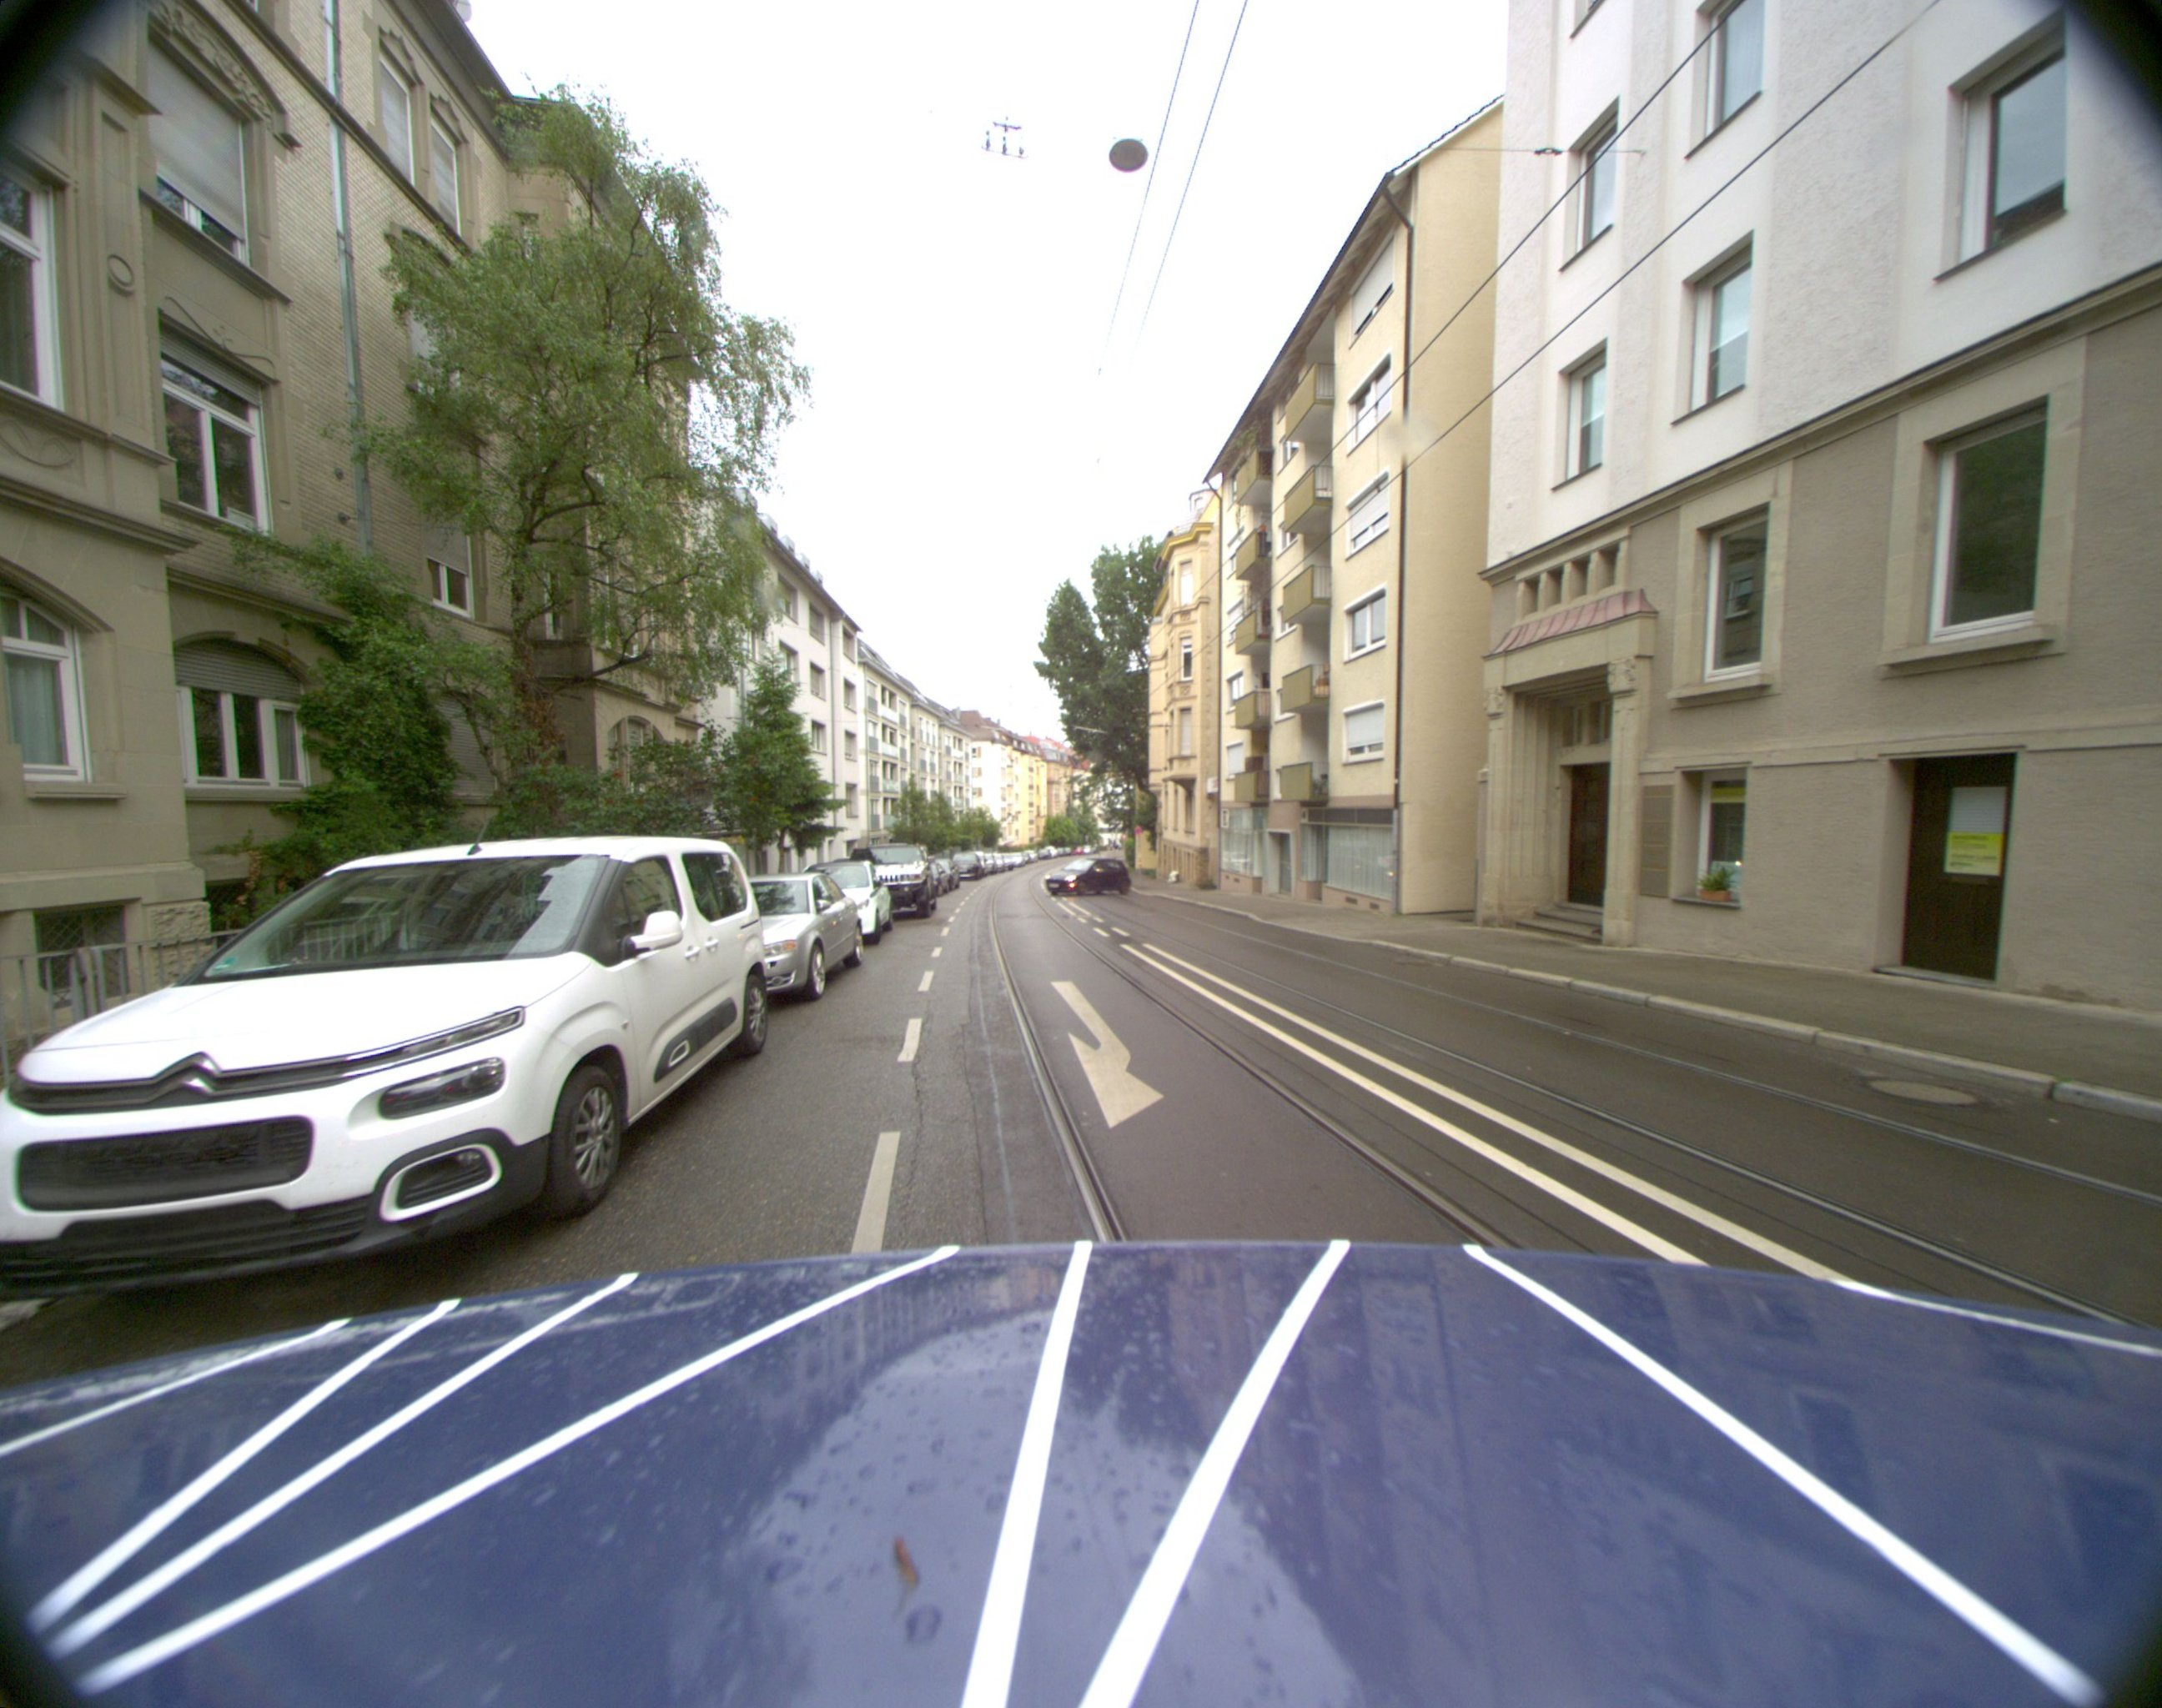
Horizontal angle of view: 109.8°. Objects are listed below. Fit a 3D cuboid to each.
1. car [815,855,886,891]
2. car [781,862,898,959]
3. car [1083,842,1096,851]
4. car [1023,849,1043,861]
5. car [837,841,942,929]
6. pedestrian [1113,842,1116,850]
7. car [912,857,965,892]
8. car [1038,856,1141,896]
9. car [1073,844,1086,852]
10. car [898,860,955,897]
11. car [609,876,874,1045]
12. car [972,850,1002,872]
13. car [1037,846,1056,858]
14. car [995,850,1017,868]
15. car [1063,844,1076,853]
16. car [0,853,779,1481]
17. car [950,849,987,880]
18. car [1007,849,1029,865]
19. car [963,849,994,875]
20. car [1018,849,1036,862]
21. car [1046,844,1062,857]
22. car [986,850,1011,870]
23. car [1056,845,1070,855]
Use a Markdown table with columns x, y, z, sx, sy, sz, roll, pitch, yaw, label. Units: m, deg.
| x | y | z | sx | sy | sz | roll | pitch | yaw | label |
| --- | --- | --- | --- | --- | --- | --- | --- | --- | --- |
| -10.661 | 0.839 | 35.419 | 1.817 | 1.418 | 4.153 | -3 | 0 | 2 | car |
| -4.589 | 0.989 | 14.892 | 1.565 | 1.537 | 3.581 | -3 | 1 | -9 | car |
| 1.561 | -1.388 | 139.515 | 1.612 | 1.434 | 3.690 | -1 | 2 | 13 | car |
| -5.924 | 0.086 | 93.790 | 1.721 | 1.459 | 4.391 | -1 | 1 | 6 | car |
| -5.054 | 0.710 | 20.868 | 2.135 | 2.002 | 5.346 | -3 | 1 | -8 | car |
| 7.400 | -1.736 | 168.418 | 0.649 | 1.652 | 0.650 | 0 | 1 | 4 | pedestrian |
| -6.552 | 0.889 | 35.399 | 1.799 | 1.429 | 4.609 | -2 | 1 | -3 | car |
| 0.386 | 0.830 | 30.334 | 4.008 | 1.445 | 1.735 | 0 | 0 | -42 | car |
| -0.215 | -1.066 | 131.063 | 1.556 | 1.360 | 3.126 | -1 | 2 | 13 | car |
| -6.215 | 0.954 | 30.911 | 1.683 | 1.330 | 3.881 | -2 | 1 | -3 | car |
| -3.916 | 1.101 | 9.679 | 1.754 | 1.392 | 4.475 | -3 | 1 | -7 | car |
| -7.445 | 0.540 | 60.669 | 1.837 | 1.647 | 4.685 | -1 | 1 | -1 | car |
| -4.701 | -0.294 | 104.434 | 1.797 | 1.444 | 4.104 | -1 | 2 | 9 | car |
| -7.039 | 0.430 | 71.799 | 1.981 | 1.576 | 4.563 | -1 | 1 | -5 | car |
| -1.839 | -0.838 | 123.930 | 1.658 | 1.360 | 3.637 | -2 | 2 | 8 | car |
| -3.293 | 0.919 | 4.419 | 1.803 | 1.755 | 4.459 | -3 | 1 | -9 | car |
| -7.170 | 0.601 | 48.883 | 1.948 | 1.785 | 4.818 | -2 | 1 | -4 | car |
| -6.715 | 0.295 | 81.395 | 1.862 | 1.507 | 4.789 | -1 | 1 | 2 | car |
| -7.353 | 0.552 | 54.739 | 1.783 | 1.785 | 4.469 | -1 | 1 | -3 | car |
| -6.280 | 0.210 | 88.888 | 1.600 | 1.416 | 3.515 | -1 | 1 | 4 | car |
| -3.888 | -0.528 | 109.378 | 1.798 | 1.613 | 3.868 | -2 | 2 | 6 | car |
| -7.130 | 0.512 | 66.267 | 1.837 | 1.618 | 4.662 | -1 | 1 | -2 | car |
| -2.793 | -0.699 | 118.302 | 1.590 | 1.434 | 3.477 | -2 | 2 | 6 | car |
